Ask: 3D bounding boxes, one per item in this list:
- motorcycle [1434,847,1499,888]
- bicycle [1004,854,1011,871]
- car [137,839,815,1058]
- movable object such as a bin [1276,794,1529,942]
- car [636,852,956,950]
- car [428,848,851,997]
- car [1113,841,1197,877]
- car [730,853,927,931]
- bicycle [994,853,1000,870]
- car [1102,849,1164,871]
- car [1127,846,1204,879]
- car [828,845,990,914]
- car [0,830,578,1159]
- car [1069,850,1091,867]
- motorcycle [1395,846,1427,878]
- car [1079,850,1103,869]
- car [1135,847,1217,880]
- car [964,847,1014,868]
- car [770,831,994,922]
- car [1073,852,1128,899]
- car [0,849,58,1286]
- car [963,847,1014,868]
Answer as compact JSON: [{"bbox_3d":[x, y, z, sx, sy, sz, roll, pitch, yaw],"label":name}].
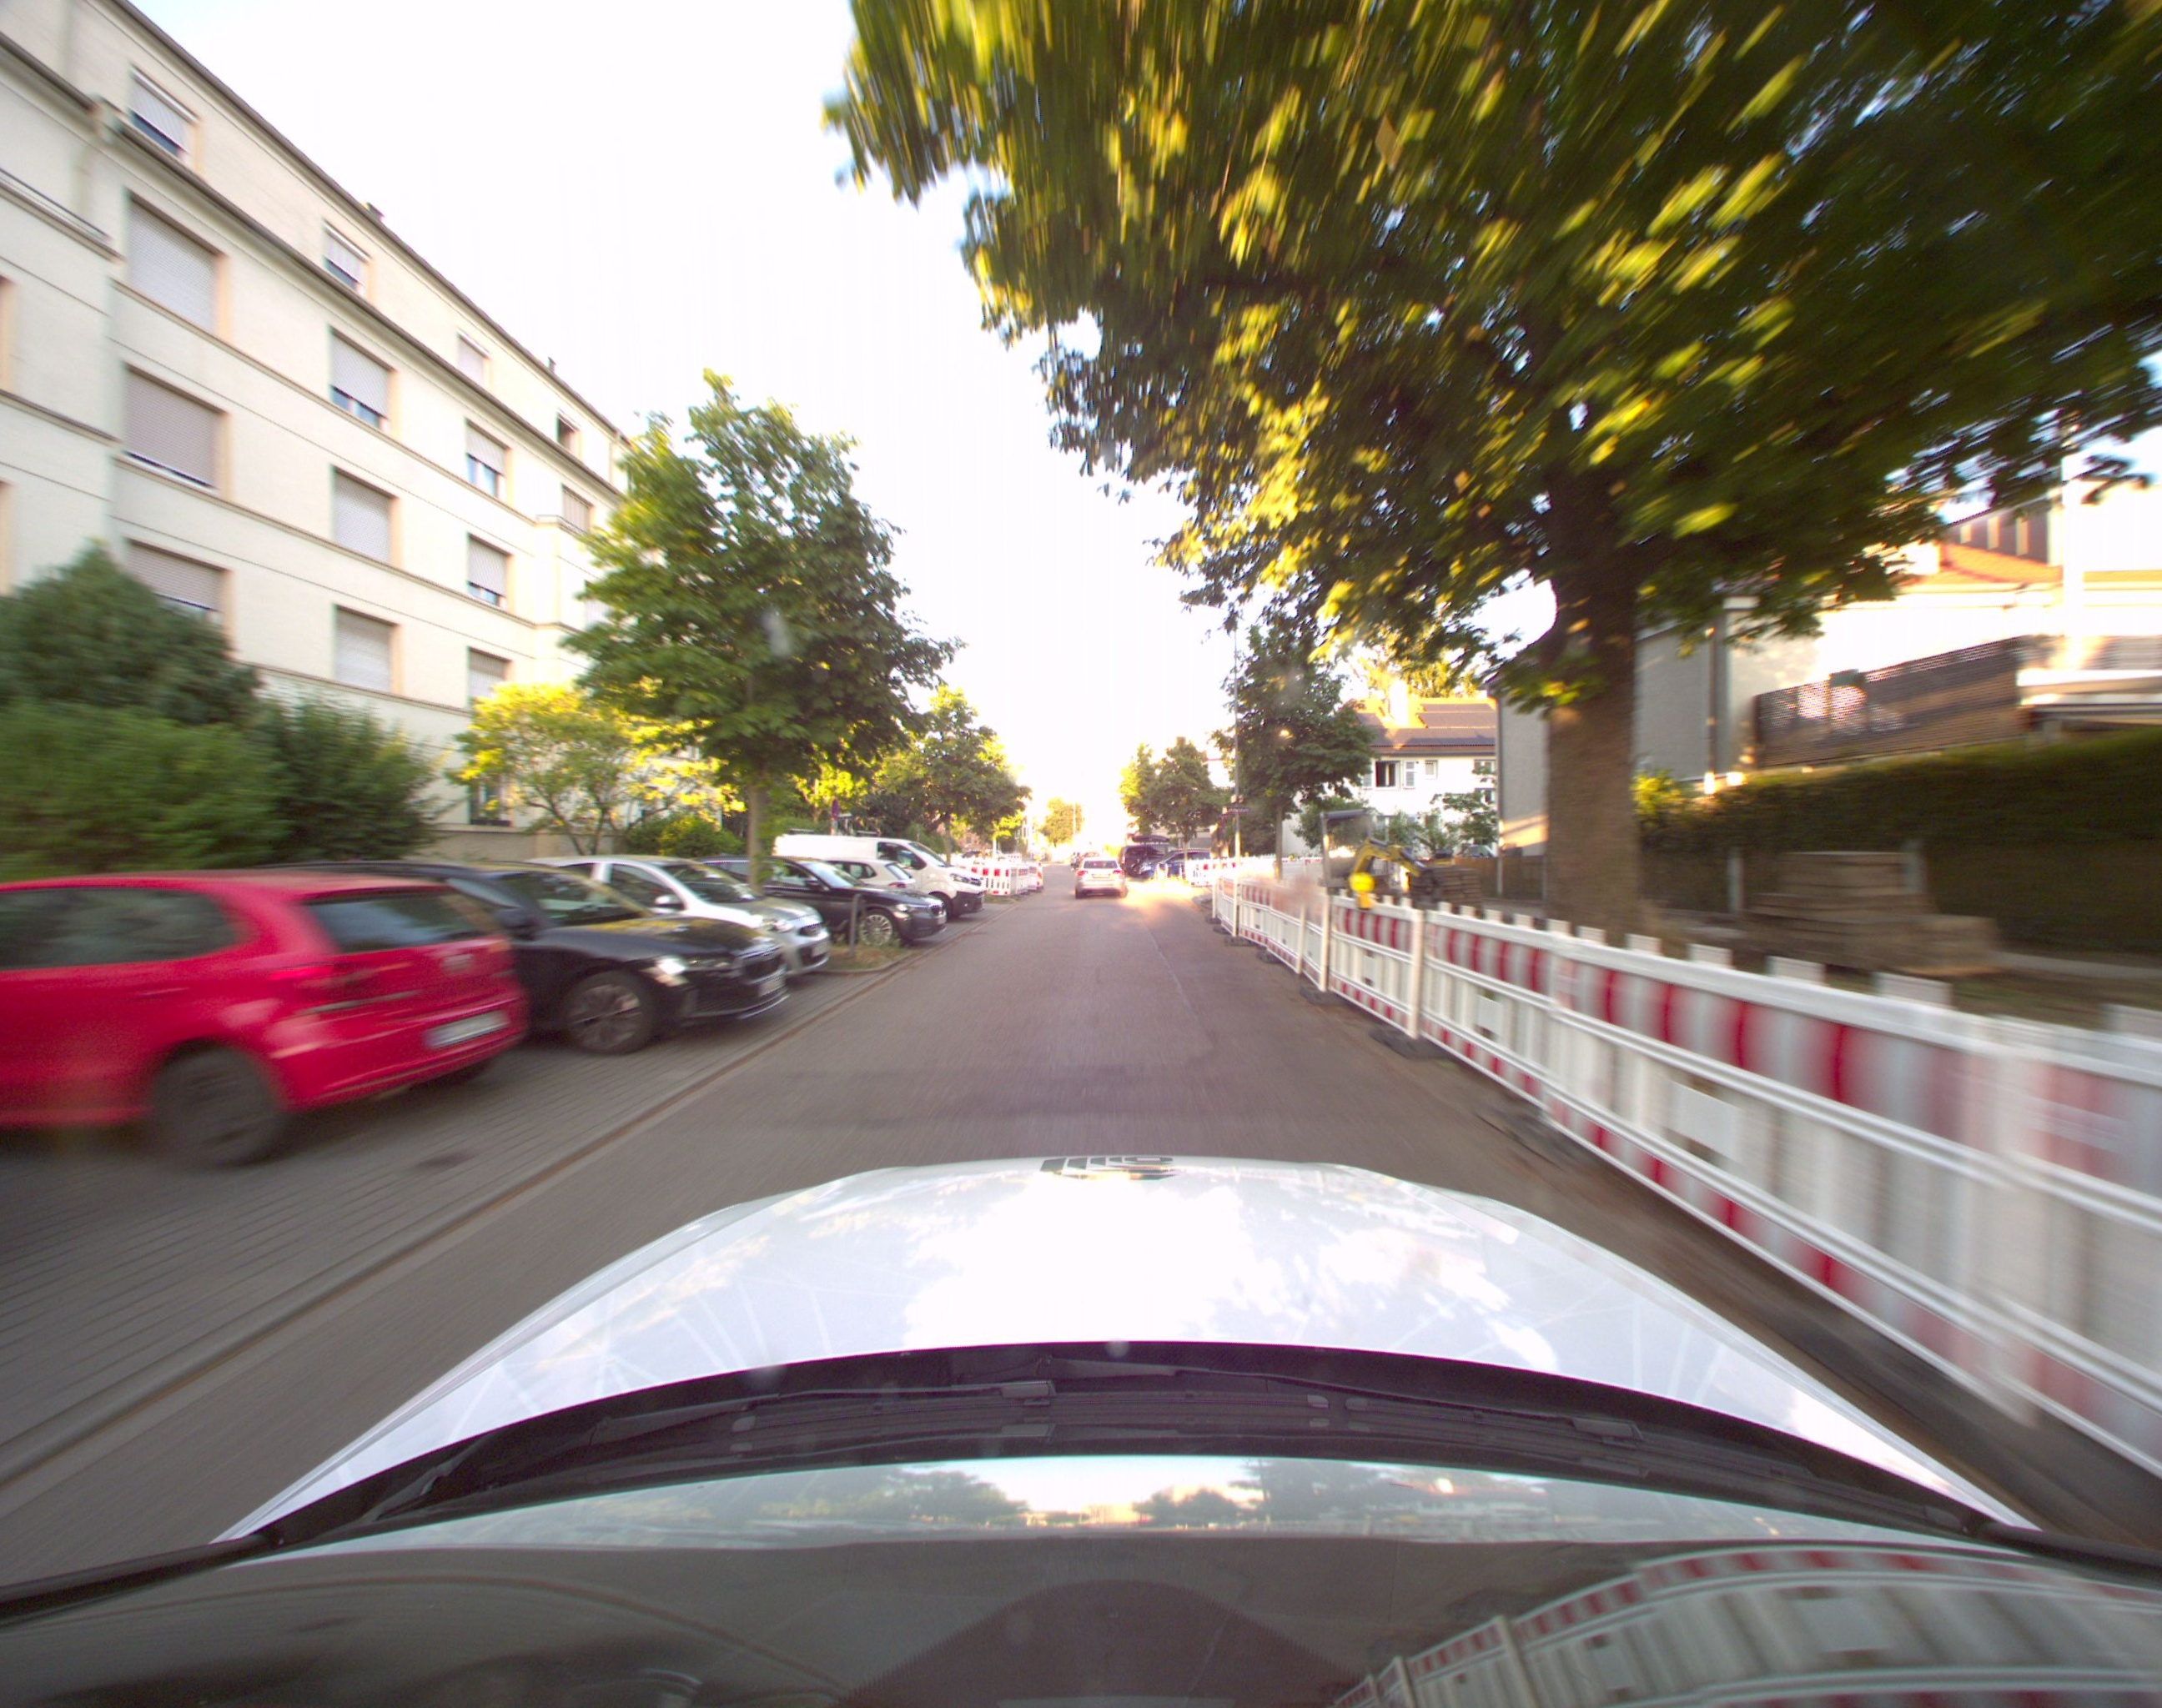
[{"bbox_3d":[13.938,0.460,29.506,0.601,1.416,2.056,0,1,-42],"label":"motorcycle"},{"bbox_3d":[-5.431,0.631,60.379,0.405,1.227,1.982,0,0,-8],"label":"bicycle"},{"bbox_3d":[-4.834,0.690,7.115,4.396,1.615,1.898,0,0,-3],"label":"car"},{"bbox_3d":[5.889,0.201,15.870,2.623,2.402,5.190,0,1,-4],"label":"movable object such as a bin"},{"bbox_3d":[-4.702,0.757,13.955,4.756,1.470,1.881,1,0,0],"label":"car"},{"bbox_3d":[-4.969,0.717,9.656,3.978,1.578,1.799,0,0,-3],"label":"car"},{"bbox_3d":[4.314,0.277,47.762,4.553,2.023,2.096,0,0,-8],"label":"car"},{"bbox_3d":[-5.038,0.725,16.563,3.401,1.483,1.760,0,0,2],"label":"car"},{"bbox_3d":[-6.215,0.577,60.273,0.405,1.227,1.982,0,0,-7],"label":"bicycle"},{"bbox_3d":[3.666,0.403,57.757,4.149,1.572,1.792,0,0,-10],"label":"car"},{"bbox_3d":[4.684,0.444,45.501,3.983,1.768,1.995,0,0,-7],"label":"car"},{"bbox_3d":[-4.520,0.645,21.860,3.976,1.752,1.799,0,0,-2],"label":"car"},{"bbox_3d":[-5.504,0.670,4.766,3.978,1.583,1.729,0,0,-3],"label":"car"},{"bbox_3d":[-0.098,0.396,75.991,1.805,1.612,3.576,0,1,-4],"label":"car"},{"bbox_3d":[11.739,0.279,28.941,0.573,1.105,1.858,0,1,37],"label":"motorcycle"},{"bbox_3d":[0.768,0.447,65.543,1.726,1.483,3.553,0,1,-4],"label":"car"},{"bbox_3d":[4.978,0.480,42.820,3.987,1.651,1.759,0,0,-10],"label":"car"},{"bbox_3d":[-7.562,0.273,67.171,3.983,1.480,1.995,-2,1,-7],"label":"car"},{"bbox_3d":[-4.547,0.488,19.174,4.756,2.013,2.000,0,0,0],"label":"car"},{"bbox_3d":[0.687,0.715,29.213,1.801,1.488,4.000,-2,0,1],"label":"car"},{"bbox_3d":[-5.748,0.756,2.035,3.976,1.524,1.789,0,0,-2],"label":"car"},{"bbox_3d":[-7.324,0.264,64.800,3.983,1.625,1.995,0,0,-7],"label":"car"}]
